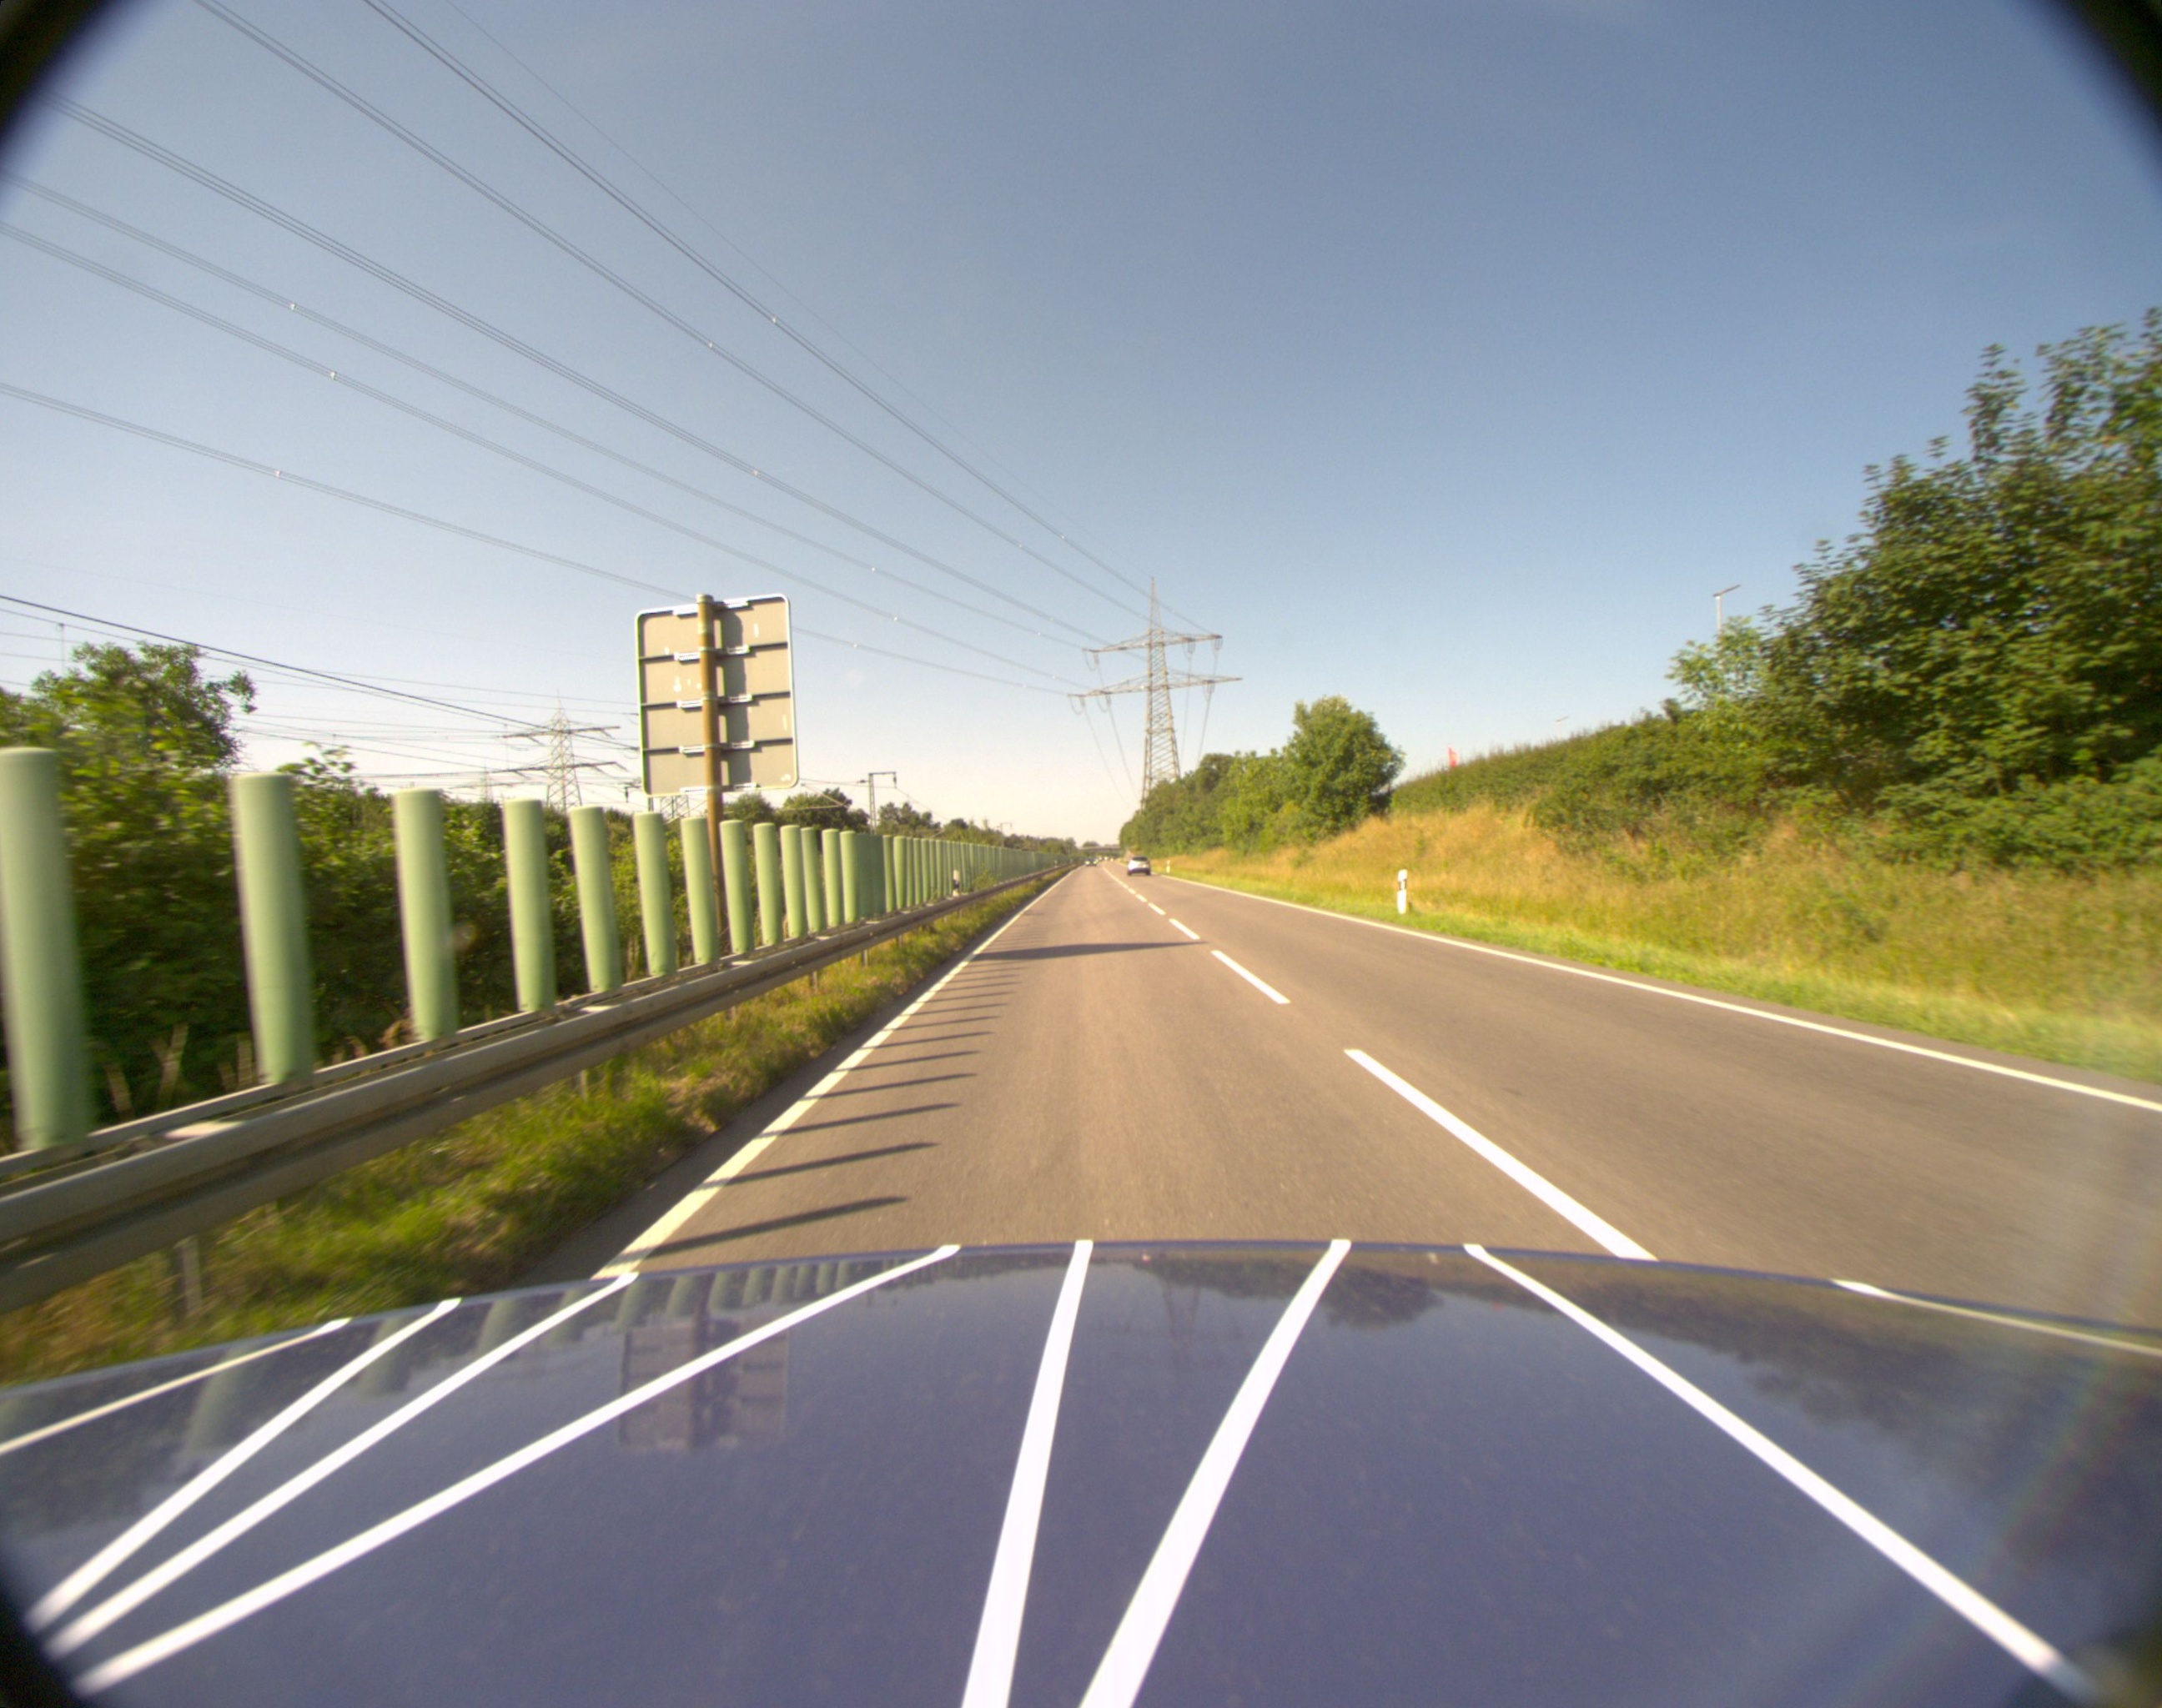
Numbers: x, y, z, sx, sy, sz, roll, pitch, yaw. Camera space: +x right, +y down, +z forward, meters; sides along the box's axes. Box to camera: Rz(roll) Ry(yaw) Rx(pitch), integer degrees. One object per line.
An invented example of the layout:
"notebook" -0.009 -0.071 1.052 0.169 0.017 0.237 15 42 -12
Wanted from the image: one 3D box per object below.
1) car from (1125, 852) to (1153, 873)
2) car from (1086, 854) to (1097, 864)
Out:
"car" 4.601 0.672 60.832 1.800 1.584 3.999 -2 1 0
"car" 1.764 0.872 128.036 1.786 1.550 4.001 -1 0 3
